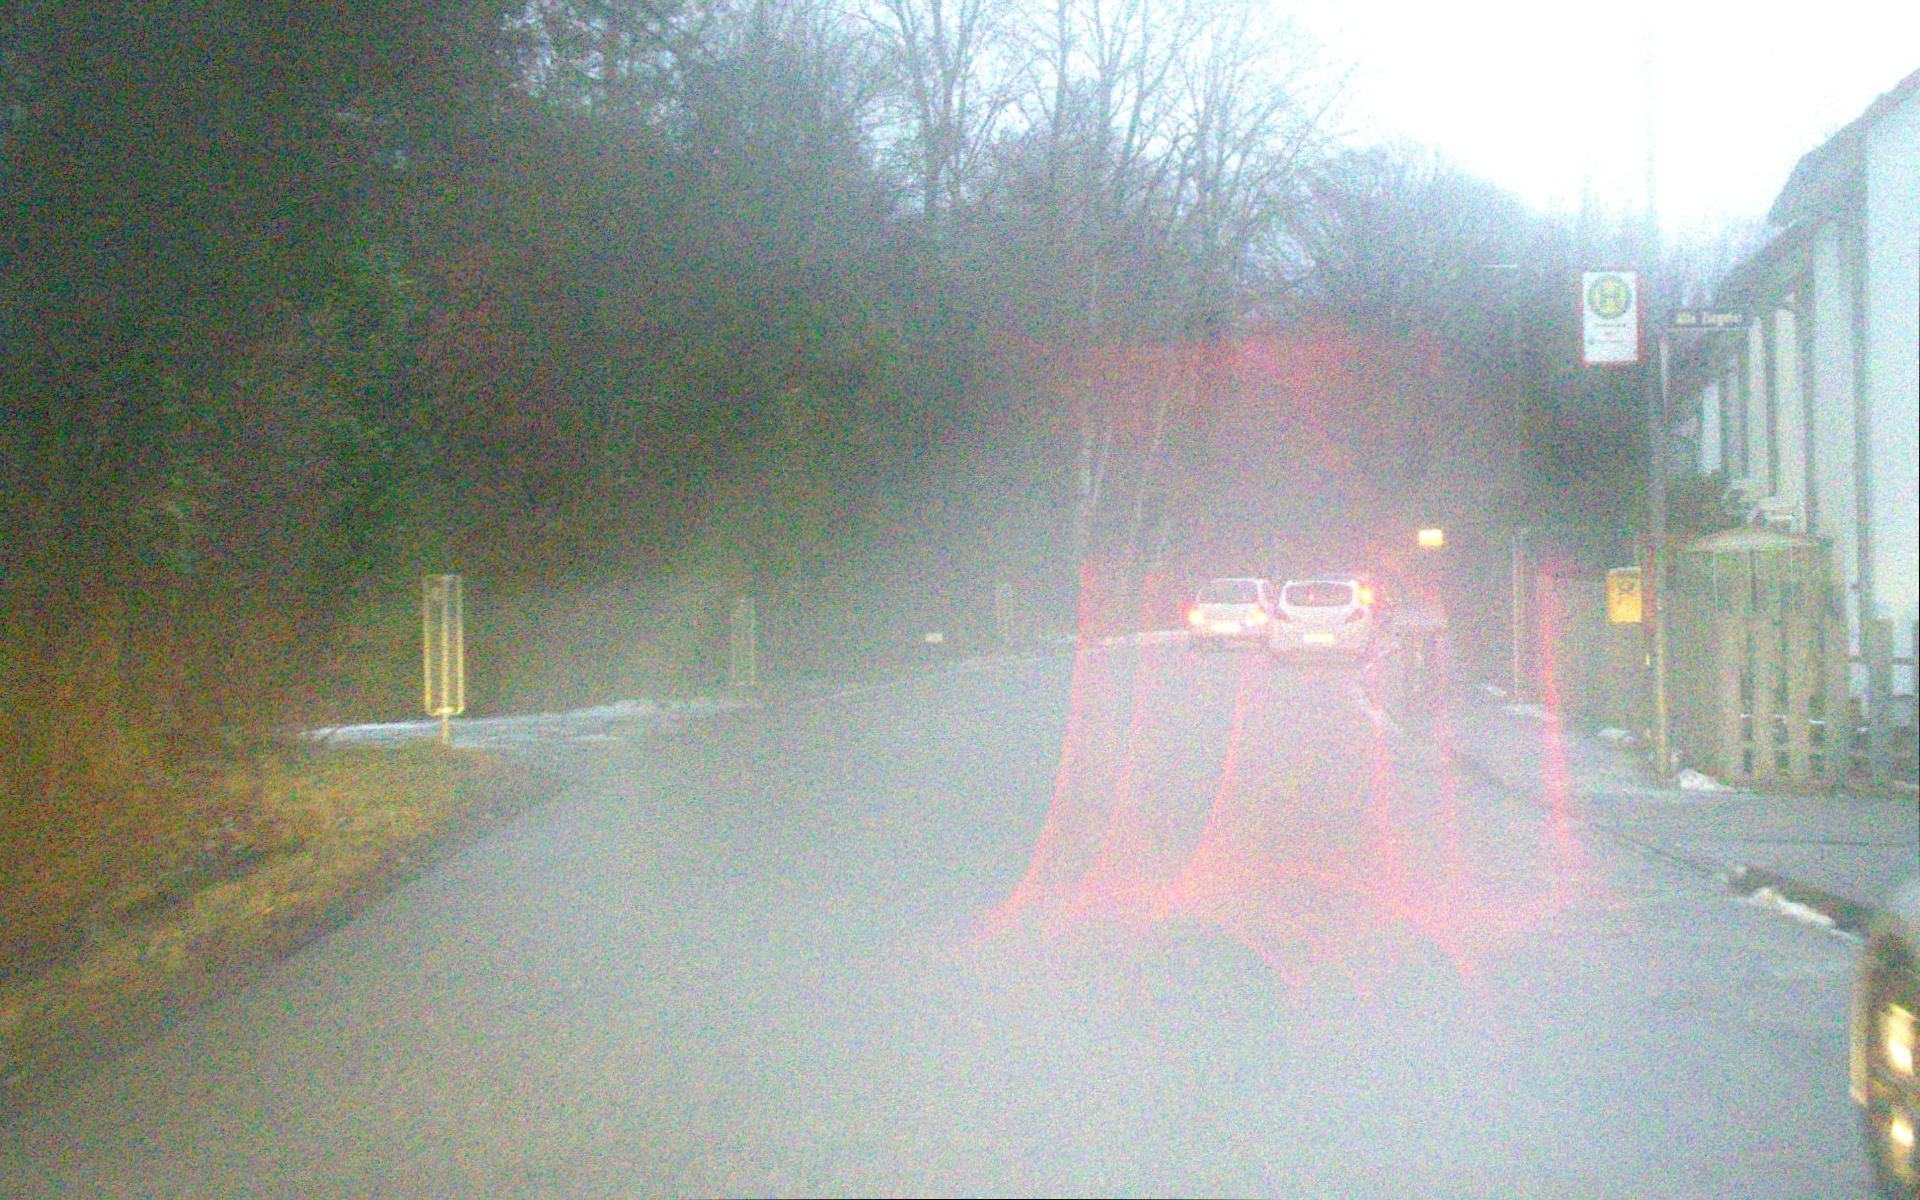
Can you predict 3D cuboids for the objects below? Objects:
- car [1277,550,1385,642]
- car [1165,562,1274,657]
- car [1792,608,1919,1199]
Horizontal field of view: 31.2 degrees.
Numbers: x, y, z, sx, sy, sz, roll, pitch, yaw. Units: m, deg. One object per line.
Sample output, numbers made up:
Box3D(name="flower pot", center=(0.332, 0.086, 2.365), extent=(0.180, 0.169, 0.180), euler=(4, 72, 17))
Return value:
Box3D(name="car", center=(6.392, -0.079, 58.964), extent=(1.704, 1.501, 4.023), euler=(1, 0, 8))
Box3D(name="car", center=(5.159, 0.162, 67.958), extent=(1.933, 1.775, 3.999), euler=(-1, 1, 7))
Box3D(name="car", center=(3.050, 0.766, 6.480), extent=(1.738, 1.424, 4.457), euler=(1, 0, -2))
